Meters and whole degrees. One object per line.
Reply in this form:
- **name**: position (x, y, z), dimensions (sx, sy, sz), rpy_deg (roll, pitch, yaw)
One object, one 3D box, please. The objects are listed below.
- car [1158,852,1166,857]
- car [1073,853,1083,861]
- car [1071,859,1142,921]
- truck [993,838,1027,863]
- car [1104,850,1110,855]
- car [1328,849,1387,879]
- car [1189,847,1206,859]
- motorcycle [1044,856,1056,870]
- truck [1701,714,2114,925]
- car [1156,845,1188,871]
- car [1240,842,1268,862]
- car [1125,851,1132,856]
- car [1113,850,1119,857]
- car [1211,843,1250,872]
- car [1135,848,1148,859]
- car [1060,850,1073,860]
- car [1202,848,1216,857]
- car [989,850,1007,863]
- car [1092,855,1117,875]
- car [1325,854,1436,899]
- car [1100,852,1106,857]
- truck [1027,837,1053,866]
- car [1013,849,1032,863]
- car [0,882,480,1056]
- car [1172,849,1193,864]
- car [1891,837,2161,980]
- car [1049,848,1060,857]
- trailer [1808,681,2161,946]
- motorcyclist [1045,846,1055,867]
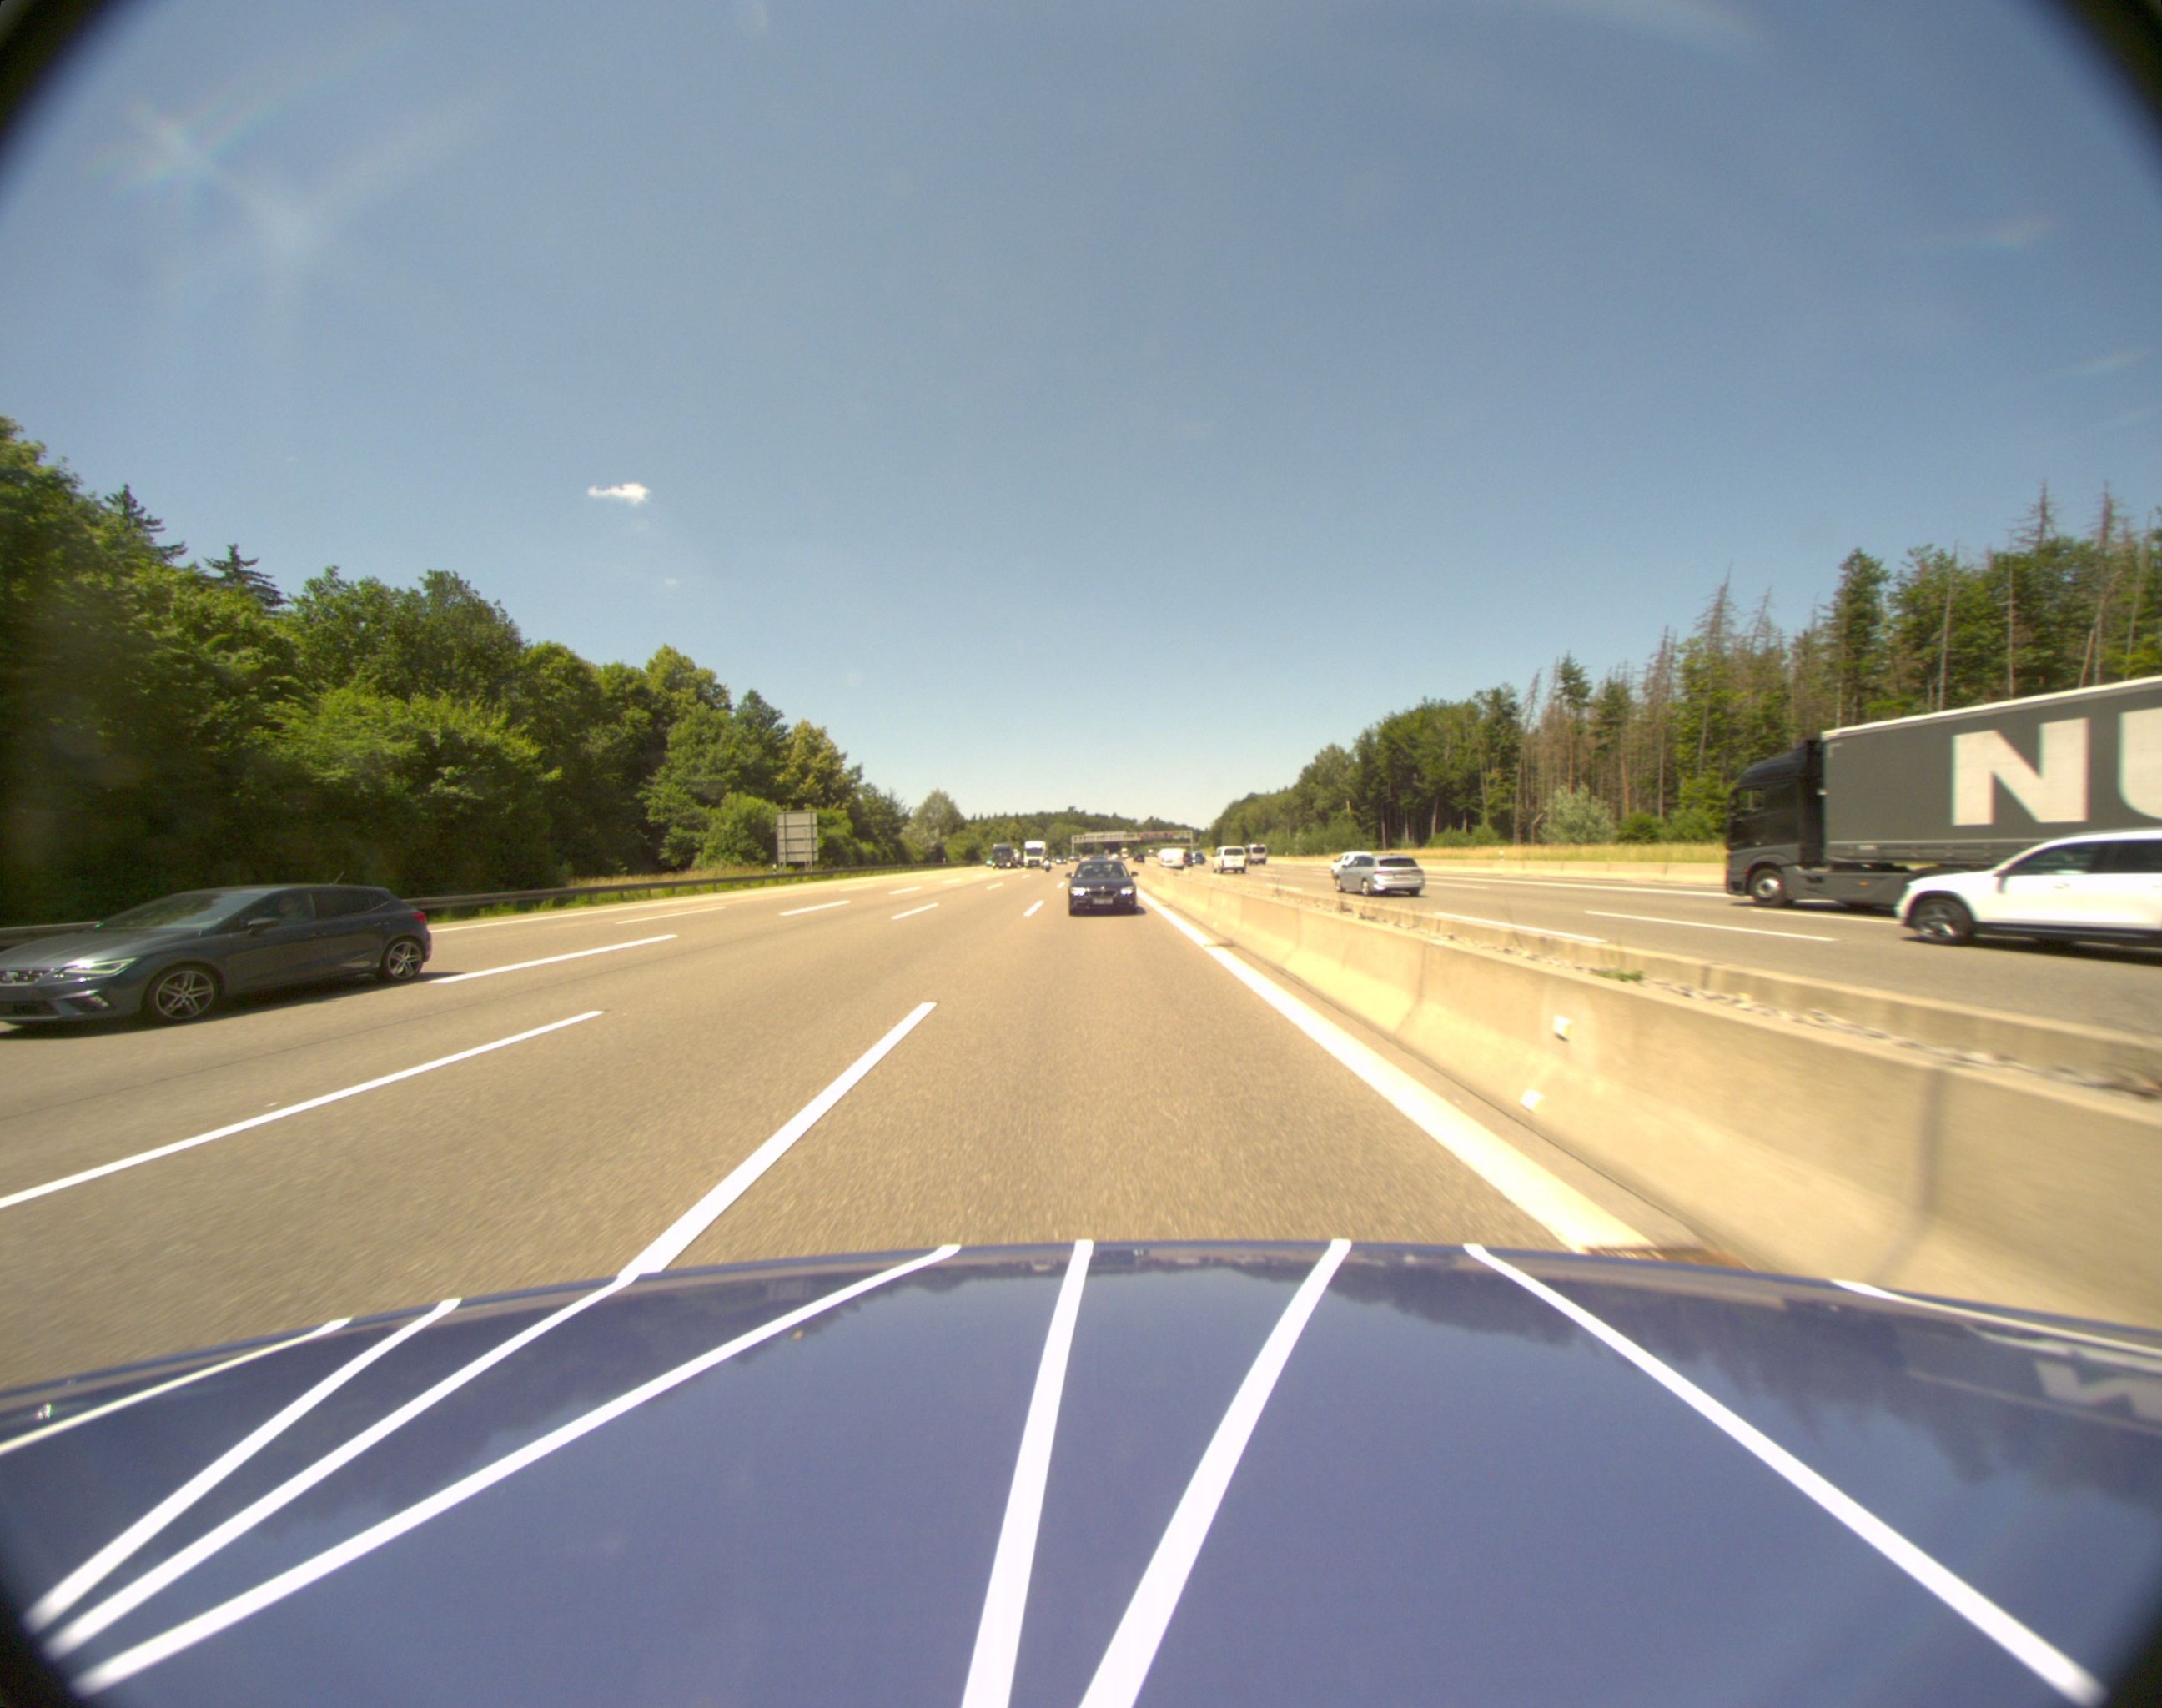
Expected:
- **car**: position (22.694, 0.096, 212.756), dimensions (1.734, 1.455, 4.783), rpy_deg (-1, 0, 1)
- **car**: position (-0.660, 0.717, 169.453), dimensions (1.998, 1.671, 4.127), rpy_deg (-1, 1, 2)
- **car**: position (0.687, 0.909, 20.990), dimensions (1.741, 1.450, 4.542), rpy_deg (-1, 0, 1)
- **truck**: position (-8.746, -0.449, 94.466), dimensions (2.660, 2.839, 10.886), rpy_deg (-1, 1, 2)
- **car**: position (8.555, -0.440, 247.673), dimensions (1.910, 1.450, 4.127), rpy_deg (-1, 1, 1)
- **car**: position (14.817, 0.502, 40.867), dimensions (1.809, 1.477, 3.810), rpy_deg (-1, 0, 1)
- **car**: position (15.825, -0.155, 103.234), dimensions (1.734, 1.561, 4.673), rpy_deg (-1, 0, 1)
- **motorcycle**: position (-3.011, 0.830, 73.907), dimensions (0.925, 1.311, 2.997), rpy_deg (-2, 0, 0)
- **truck**: position (17.906, -0.657, 17.148), dimensions (3.296, 3.908, 5.539), rpy_deg (-1, 1, 1)
- **car**: position (7.479, 0.322, 63.035), dimensions (2.082, 2.032, 5.711), rpy_deg (-1, 0, 1)
- **car**: position (21.588, -0.290, 94.920), dimensions (1.953, 2.398, 6.345), rpy_deg (-1, 0, 0)
- **car**: position (14.595, -0.115, 233.664), dimensions (1.910, 1.450, 4.128), rpy_deg (-1, 1, 5)
- **car**: position (11.417, -0.179, 247.622), dimensions (1.998, 1.935, 4.129), rpy_deg (-2, 0, 4)
- **car**: position (11.193, 0.233, 57.299), dimensions (1.998, 2.002, 5.129), rpy_deg (-1, 1, 1)
- **car**: position (10.021, -0.077, 126.871), dimensions (1.854, 1.668, 5.044), rpy_deg (-1, 0, 1)
- **car**: position (-2.427, 0.121, 128.104), dimensions (1.998, 1.671, 4.127), rpy_deg (-1, 1, 2)
- **car**: position (22.196, -0.241, 131.998), dimensions (1.734, 1.561, 3.863), rpy_deg (-2, 0, 1)
- **car**: position (-11.808, 0.373, 108.108), dimensions (1.998, 1.671, 4.127), rpy_deg (-1, 1, 2)
- **car**: position (1.868, 0.845, 61.036), dimensions (1.834, 1.454, 4.204), rpy_deg (-1, 1, 0)
- **car**: position (10.366, 0.715, 26.742), dimensions (1.998, 1.369, 5.010), rpy_deg (-1, 1, 1)
- **car**: position (6.647, 0.119, 229.615), dimensions (1.910, 1.450, 4.127), rpy_deg (-1, 1, 2)
- **truck**: position (-4.919, -0.328, 93.080), dimensions (2.428, 3.237, 8.690), rpy_deg (-1, 1, 2)
- **car**: position (-8.046, 0.271, 104.829), dimensions (1.998, 1.885, 4.870), rpy_deg (-1, 1, 3)
- **car**: position (-10.351, 1.206, 9.637), dimensions (1.647, 1.430, 4.635), rpy_deg (-2, 1, 1)
- **car**: position (11.881, 0.299, 89.222), dimensions (1.832, 1.689, 5.003), rpy_deg (-1, 0, 1)
- **car**: position (13.660, 0.619, 9.582), dimensions (1.998, 1.661, 4.612), rpy_deg (-1, 0, 1)
- **car**: position (-5.552, -0.282, 158.273), dimensions (1.998, 1.671, 4.127), rpy_deg (-1, 1, 3)
- **trailer**: position (17.886, -0.628, 9.868), dimensions (3.350, 3.978, 14.277), rpy_deg (-1, 0, 1)
- **motorcyclist**: position (-3.008, 0.246, 73.464), dimensions (0.914, 1.926, 0.905), rpy_deg (-2, 1, 0)
